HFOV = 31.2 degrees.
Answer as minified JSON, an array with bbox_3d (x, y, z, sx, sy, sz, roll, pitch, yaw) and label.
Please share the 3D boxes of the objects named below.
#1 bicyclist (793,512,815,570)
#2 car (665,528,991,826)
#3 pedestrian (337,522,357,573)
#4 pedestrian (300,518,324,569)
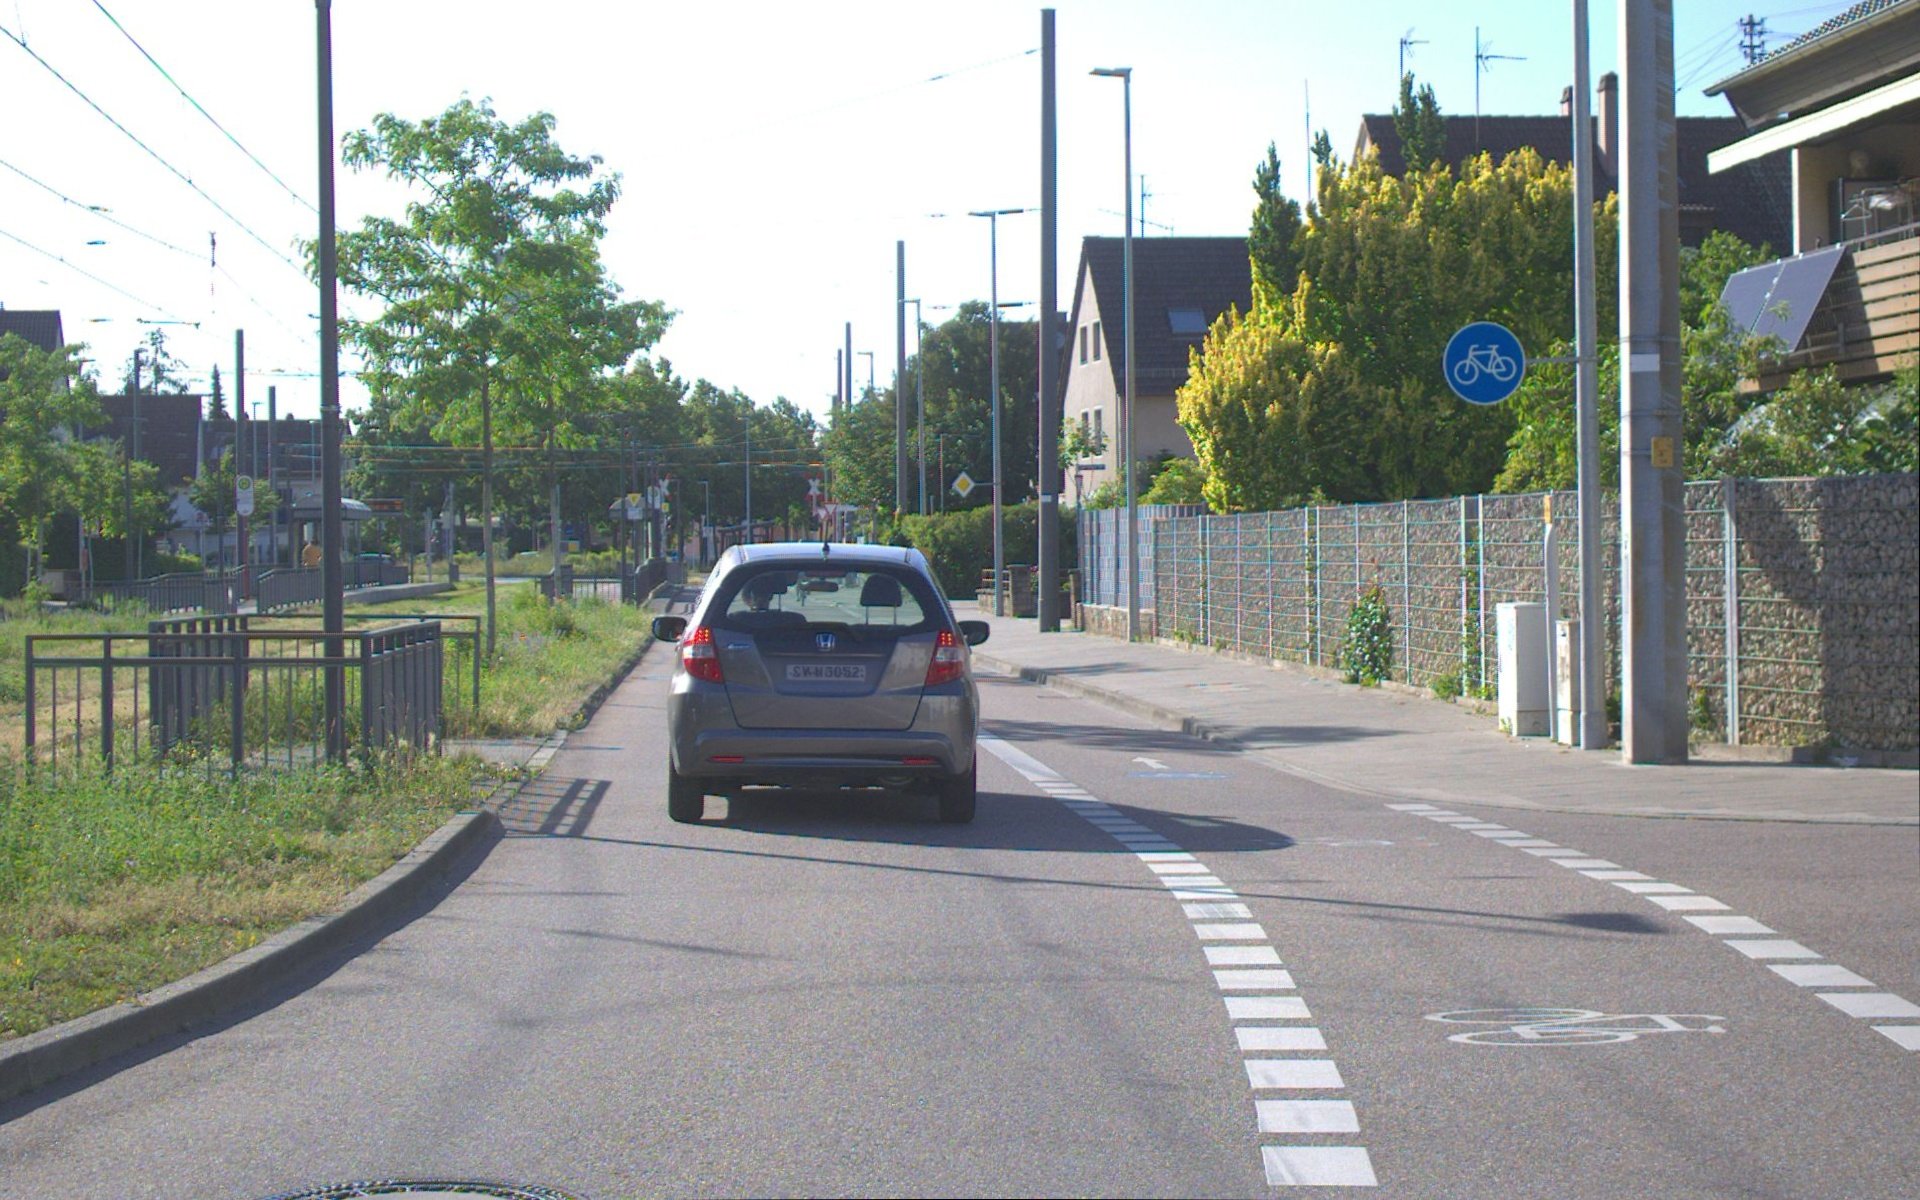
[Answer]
[{"bbox_3d":[-4.634,-1.757,102.269,0.598,1.695,0.683,1,0,-4],"label":"bicyclist"},{"bbox_3d":[-0.725,0.376,19.571,1.670,1.530,3.487,1,1,-1],"label":"car"},{"bbox_3d":[-20.560,-1.771,115.307,0.500,1.690,0.771,-3,1,-3],"label":"pedestrian"},{"bbox_3d":[-19.689,-1.726,104.504,0.675,1.530,0.749,-1,1,-8],"label":"pedestrian"}]
